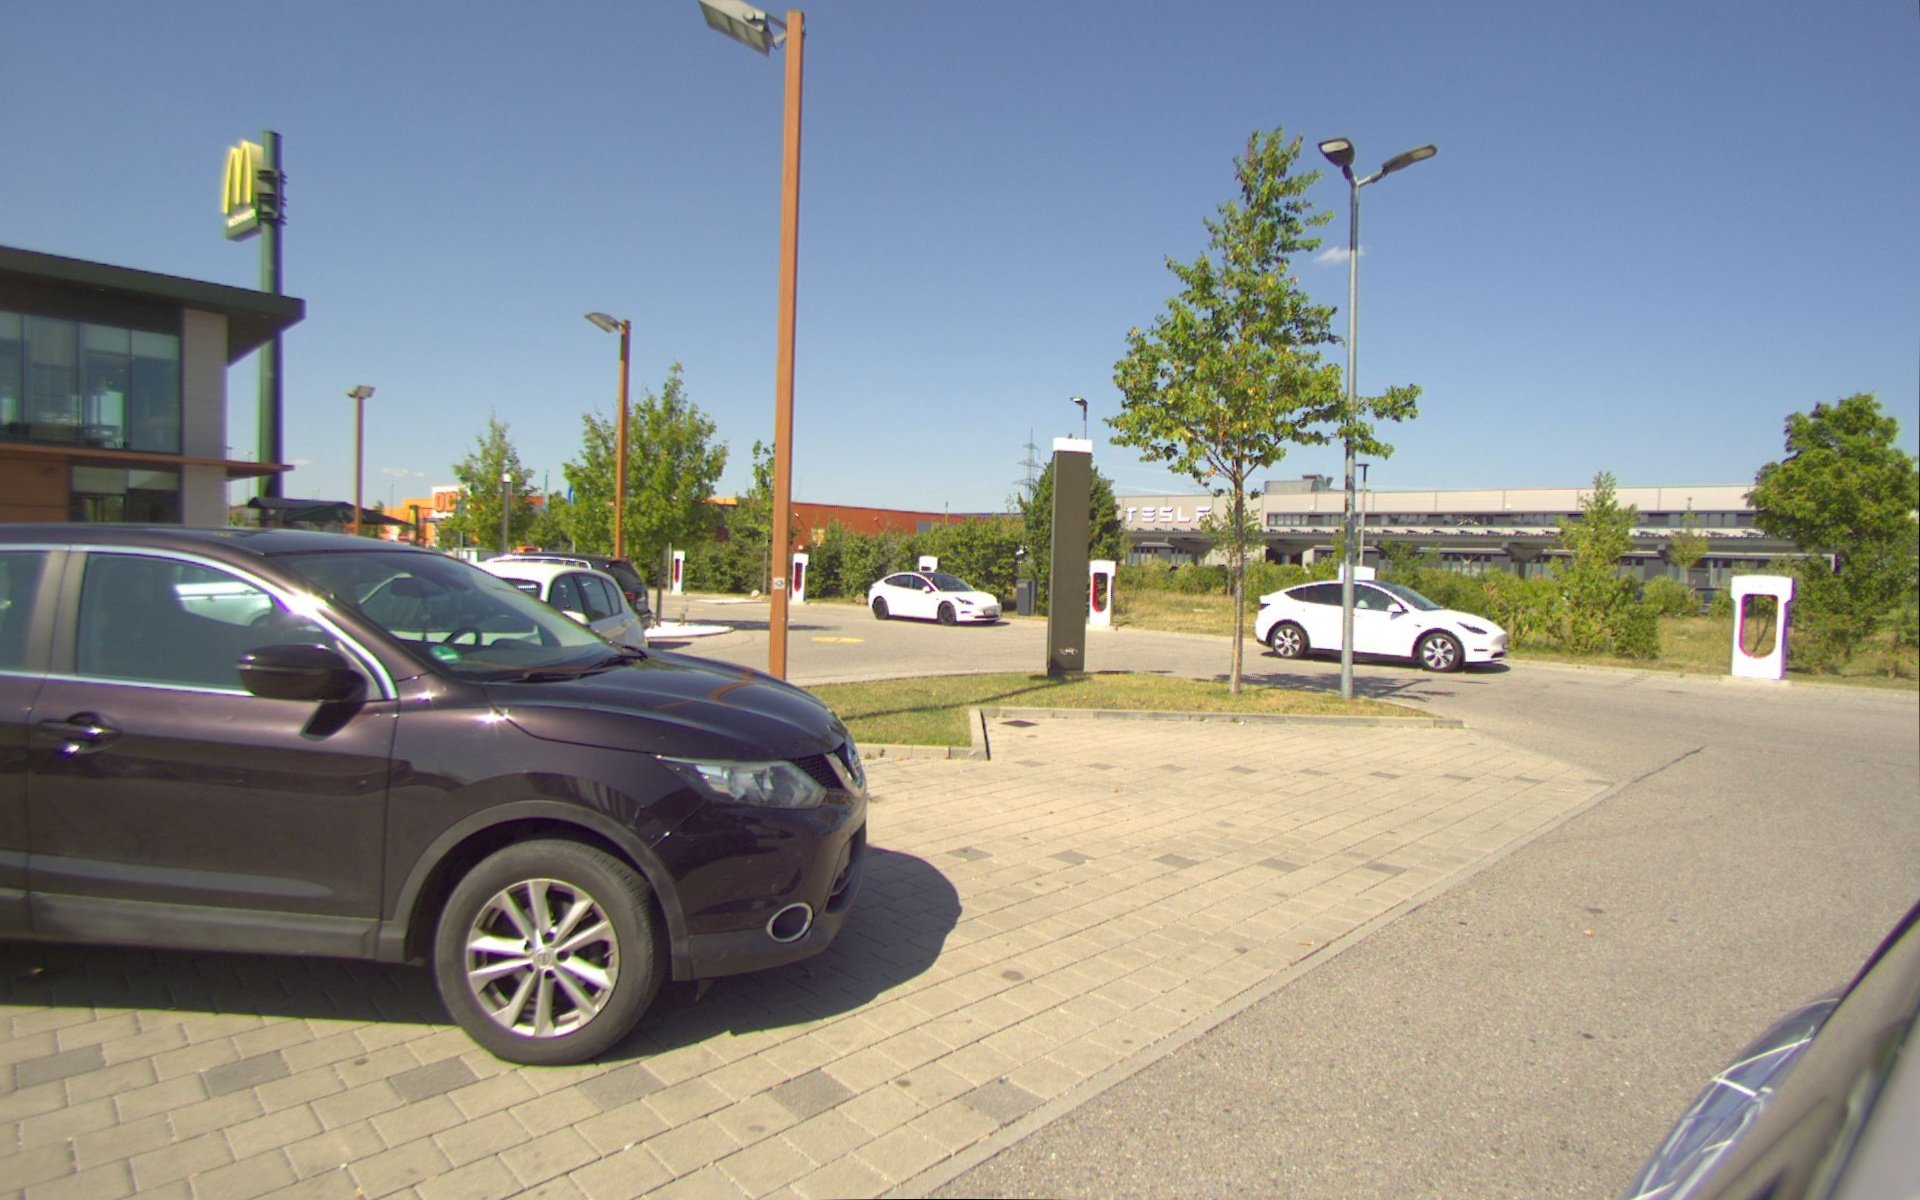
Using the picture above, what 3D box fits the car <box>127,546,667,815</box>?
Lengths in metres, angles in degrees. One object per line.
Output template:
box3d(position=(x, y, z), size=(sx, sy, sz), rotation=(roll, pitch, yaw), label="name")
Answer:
box3d(position=(-3.753, 0.391, 7.763), size=(1.937, 1.477, 4.210), rotation=(1, 2, -2), label="car")

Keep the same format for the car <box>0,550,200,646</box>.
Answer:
box3d(position=(-15.896, -0.086, 17.211), size=(4.558, 1.505, 1.896), rotation=(1, 2, 1), label="car")

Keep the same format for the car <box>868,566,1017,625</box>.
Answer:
box3d(position=(-0.573, -0.191, 29.084), size=(1.812, 1.497, 4.323), rotation=(0, 3, -44), label="car")

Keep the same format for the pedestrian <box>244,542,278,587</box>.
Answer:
box3d(position=(-24.525, -1.250, 35.527), size=(0.692, 1.579, 0.718), rotation=(1, 1, 16), label="pedestrian")

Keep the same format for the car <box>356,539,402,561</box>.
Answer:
box3d(position=(-63.767, -5.441, 111.093), size=(1.993, 2.331, 3.939), rotation=(2, 2, 42), label="car")

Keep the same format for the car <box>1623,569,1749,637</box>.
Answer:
box3d(position=(20.637, 0.036, 28.721), size=(4.181, 1.771, 1.917), rotation=(0, 2, -40), label="car")

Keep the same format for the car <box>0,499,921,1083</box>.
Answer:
box3d(position=(-2.323, 0.496, 3.882), size=(4.223, 1.610, 1.857), rotation=(2, 1, 1), label="car")

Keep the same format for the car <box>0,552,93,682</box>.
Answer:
box3d(position=(-12.705, 0.146, 11.510), size=(4.033, 1.430, 1.816), rotation=(1, 2, -4), label="car")

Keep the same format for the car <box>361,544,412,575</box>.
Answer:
box3d(position=(-31.468, -2.222, 55.484), size=(1.733, 1.581, 3.878), rotation=(0, 2, -41), label="car")

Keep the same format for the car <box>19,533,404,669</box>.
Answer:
box3d(position=(-10.198, -0.028, 14.019), size=(4.038, 1.695, 1.813), rotation=(1, 2, 1), label="car")

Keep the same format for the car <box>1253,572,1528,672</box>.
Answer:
box3d(position=(8.242, 0.328, 19.655), size=(4.560, 1.612, 1.815), rotation=(3, 2, 42), label="car")

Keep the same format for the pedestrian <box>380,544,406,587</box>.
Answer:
box3d(position=(-21.001, -1.288, 37.493), size=(0.690, 1.579, 0.720), rotation=(0, 2, -44), label="pedestrian")

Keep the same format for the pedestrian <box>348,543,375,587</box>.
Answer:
box3d(position=(-21.556, -1.266, 36.433), size=(0.690, 1.579, 0.720), rotation=(0, 2, -44), label="pedestrian")

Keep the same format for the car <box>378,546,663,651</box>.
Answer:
box3d(position=(-7.058, -0.050, 16.556), size=(3.922, 1.571, 1.756), rotation=(1, 1, -2), label="car")

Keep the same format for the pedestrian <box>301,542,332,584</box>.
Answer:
box3d(position=(-24.649, -1.408, 38.785), size=(0.692, 1.579, 0.718), rotation=(1, 1, 16), label="pedestrian")

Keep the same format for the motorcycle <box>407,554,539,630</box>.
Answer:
box3d(position=(-9.099, -0.162, 18.962), size=(2.119, 1.340, 0.765), rotation=(1, 2, 0), label="motorcycle")

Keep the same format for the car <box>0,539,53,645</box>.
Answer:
box3d(position=(-15.897, -0.149, 14.286), size=(4.558, 1.505, 1.896), rotation=(1, 2, 1), label="car")
